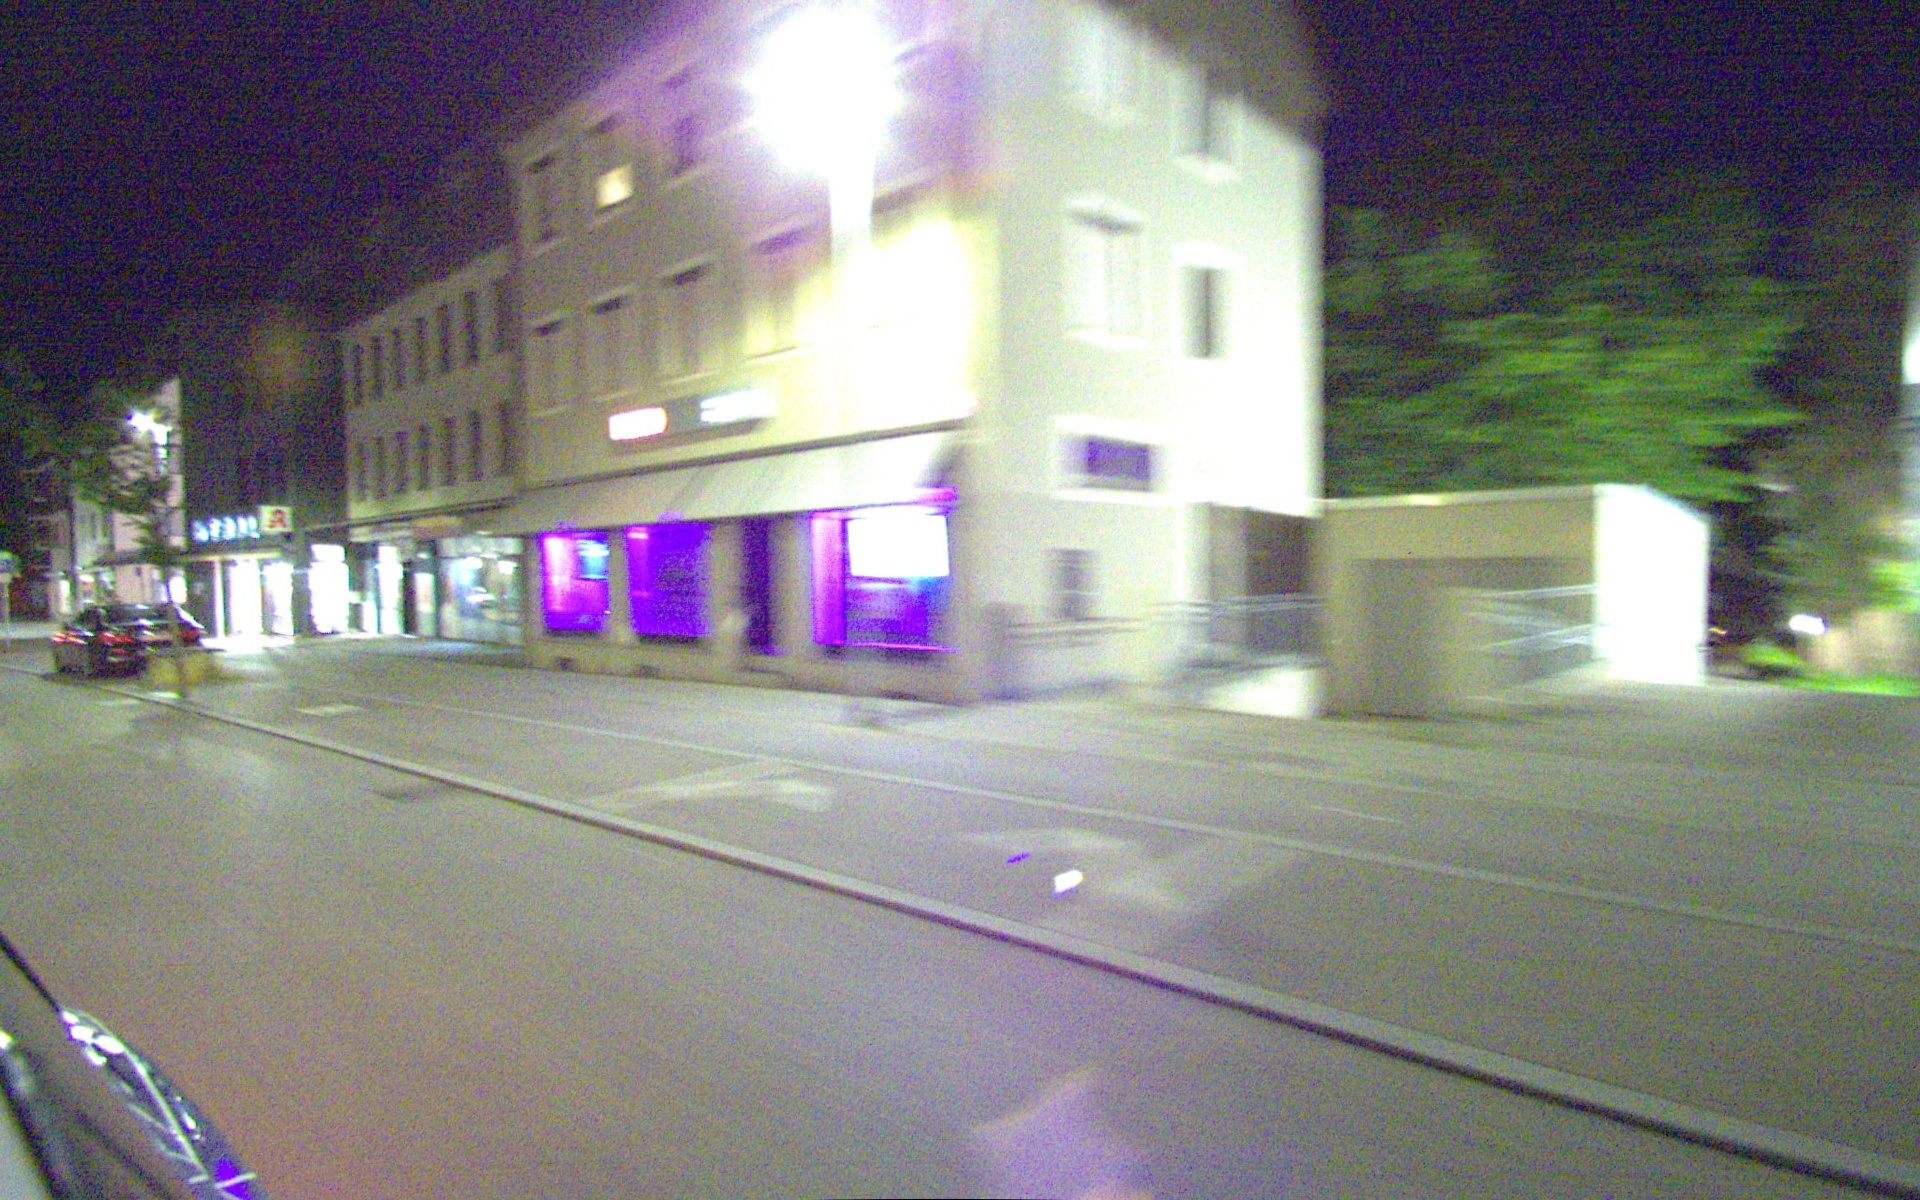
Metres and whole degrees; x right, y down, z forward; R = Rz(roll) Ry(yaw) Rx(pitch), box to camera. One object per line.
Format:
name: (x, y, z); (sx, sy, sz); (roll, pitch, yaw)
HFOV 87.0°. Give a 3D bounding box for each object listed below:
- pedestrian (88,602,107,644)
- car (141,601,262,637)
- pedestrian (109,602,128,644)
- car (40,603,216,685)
pedestrian: (-33.389, 0.900, 39.173); (0.521, 1.600, 0.667); (-2, 0, -40)
car: (-31.724, 0.781, 42.399); (1.651, 1.427, 3.784); (-1, 0, 40)
pedestrian: (-32.770, 0.901, 39.416); (0.521, 1.600, 0.667); (-2, 0, -41)
car: (-17.387, 0.849, 21.056); (4.926, 1.430, 1.878); (-1, 2, 39)
